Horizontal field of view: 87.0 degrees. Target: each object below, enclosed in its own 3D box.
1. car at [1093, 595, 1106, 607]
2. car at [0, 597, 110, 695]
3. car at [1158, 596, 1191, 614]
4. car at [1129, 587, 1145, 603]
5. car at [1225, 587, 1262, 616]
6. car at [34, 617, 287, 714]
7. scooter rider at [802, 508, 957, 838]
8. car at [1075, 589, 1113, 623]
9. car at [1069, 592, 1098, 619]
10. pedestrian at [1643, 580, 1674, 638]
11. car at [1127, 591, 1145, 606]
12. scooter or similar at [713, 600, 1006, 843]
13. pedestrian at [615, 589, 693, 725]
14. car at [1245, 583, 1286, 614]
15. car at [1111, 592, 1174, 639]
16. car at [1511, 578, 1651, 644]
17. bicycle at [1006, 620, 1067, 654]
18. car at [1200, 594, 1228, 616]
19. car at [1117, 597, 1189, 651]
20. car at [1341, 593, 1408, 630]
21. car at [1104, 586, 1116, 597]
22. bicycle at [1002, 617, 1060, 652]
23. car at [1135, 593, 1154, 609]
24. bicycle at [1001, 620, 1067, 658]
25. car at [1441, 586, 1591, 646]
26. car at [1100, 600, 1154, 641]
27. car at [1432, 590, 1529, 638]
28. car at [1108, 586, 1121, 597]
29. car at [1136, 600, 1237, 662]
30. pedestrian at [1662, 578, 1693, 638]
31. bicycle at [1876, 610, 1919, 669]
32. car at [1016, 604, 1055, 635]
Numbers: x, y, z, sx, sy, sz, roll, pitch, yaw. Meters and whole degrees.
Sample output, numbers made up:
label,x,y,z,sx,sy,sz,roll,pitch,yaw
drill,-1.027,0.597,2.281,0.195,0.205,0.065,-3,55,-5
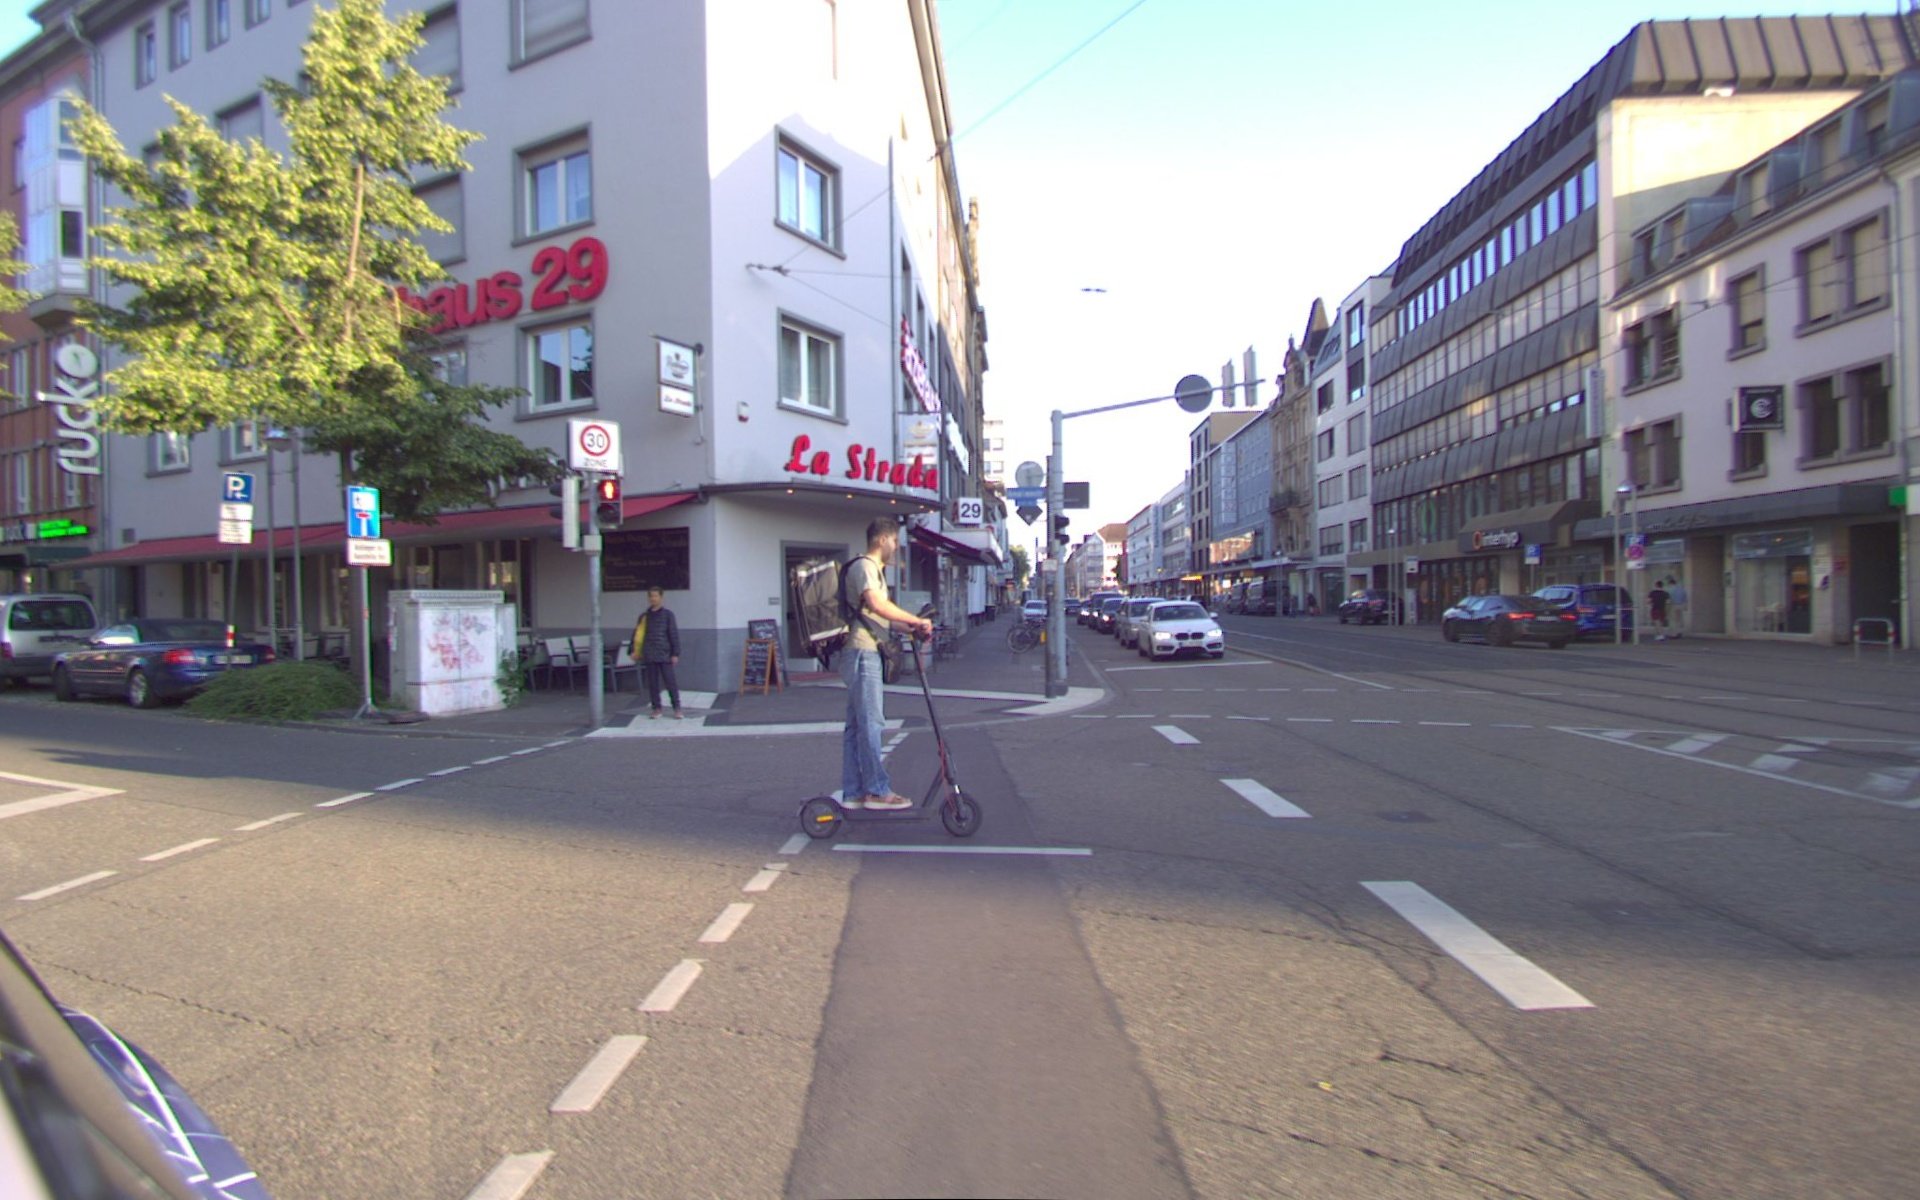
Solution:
label,x,y,z,sx,sy,sz,roll,pitch,yaw
car,25.972,0.205,188.553,1.973,2.028,3.998,-1,2,2
car,-18.411,0.811,19.417,3.978,1.676,1.706,0,2,26
car,22.699,0.468,107.292,1.776,1.761,3.849,-1,2,-17
car,26.609,-0.741,152.503,1.951,2.209,4.129,-1,2,4
car,21.759,0.055,77.874,1.975,2.074,3.994,-1,2,5
car,-12.995,0.979,16.408,4.291,1.363,1.639,0,0,28
scooter rider,-0.451,0.406,6.025,0.778,1.821,0.812,-1,0,5
car,7.599,0.307,57.822,1.880,1.801,3.935,-1,2,4
car,9.761,0.410,80.364,1.974,2.028,3.997,-1,2,3
pedestrian,20.740,0.271,30.043,0.503,1.697,0.583,-1,1,4
car,25.475,-0.206,146.409,1.949,2.028,3.998,-1,2,2
scooter or similar,-0.572,0.699,6.040,1.648,1.361,0.545,-1,0,6
pedestrian,-3.863,0.709,12.820,0.789,1.668,0.586,-1,0,2
car,21.438,-0.124,71.142,1.975,2.028,3.995,-1,2,5
car,6.848,0.554,38.308,1.975,1.652,3.993,-1,0,5
car,18.928,0.300,31.083,1.891,1.809,4.125,-2,0,4
bicycle,2.262,1.084,29.973,1.737,0.956,0.444,0,1,-1
car,24.069,0.460,95.971,1.811,1.931,3.996,-1,2,4
car,6.052,0.714,32.062,1.976,1.490,3.991,-1,2,7
car,19.889,0.527,48.731,1.798,1.568,3.995,-1,2,5
car,29.412,-1.683,198.598,1.973,2.028,3.998,-1,2,2
bicycle,2.196,1.067,31.451,1.737,1.078,0.444,0,1,-1
car,25.341,0.117,139.057,1.973,2.028,3.998,-1,2,2
bicycle,2.076,1.082,28.493,1.803,1.039,0.444,1,-1,-1
car,15.440,0.441,28.416,1.872,1.491,4.538,-2,-1,3
car,7.127,0.848,43.613,1.975,1.652,3.993,-1,0,5
car,19.301,0.501,37.724,1.680,1.635,3.995,-1,0,4
car,29.492,-1.587,193.449,1.973,2.028,3.998,-1,2,2
car,5.571,0.735,25.351,1.892,1.369,3.740,-2,-1,4
pedestrian,21.330,0.234,30.108,0.509,1.747,0.600,-1,1,4
bicycle,17.900,0.710,18.443,1.726,1.067,0.496,-1,0,14
car,4.015,1.000,54.448,2.016,1.571,4.382,-1,0,3
